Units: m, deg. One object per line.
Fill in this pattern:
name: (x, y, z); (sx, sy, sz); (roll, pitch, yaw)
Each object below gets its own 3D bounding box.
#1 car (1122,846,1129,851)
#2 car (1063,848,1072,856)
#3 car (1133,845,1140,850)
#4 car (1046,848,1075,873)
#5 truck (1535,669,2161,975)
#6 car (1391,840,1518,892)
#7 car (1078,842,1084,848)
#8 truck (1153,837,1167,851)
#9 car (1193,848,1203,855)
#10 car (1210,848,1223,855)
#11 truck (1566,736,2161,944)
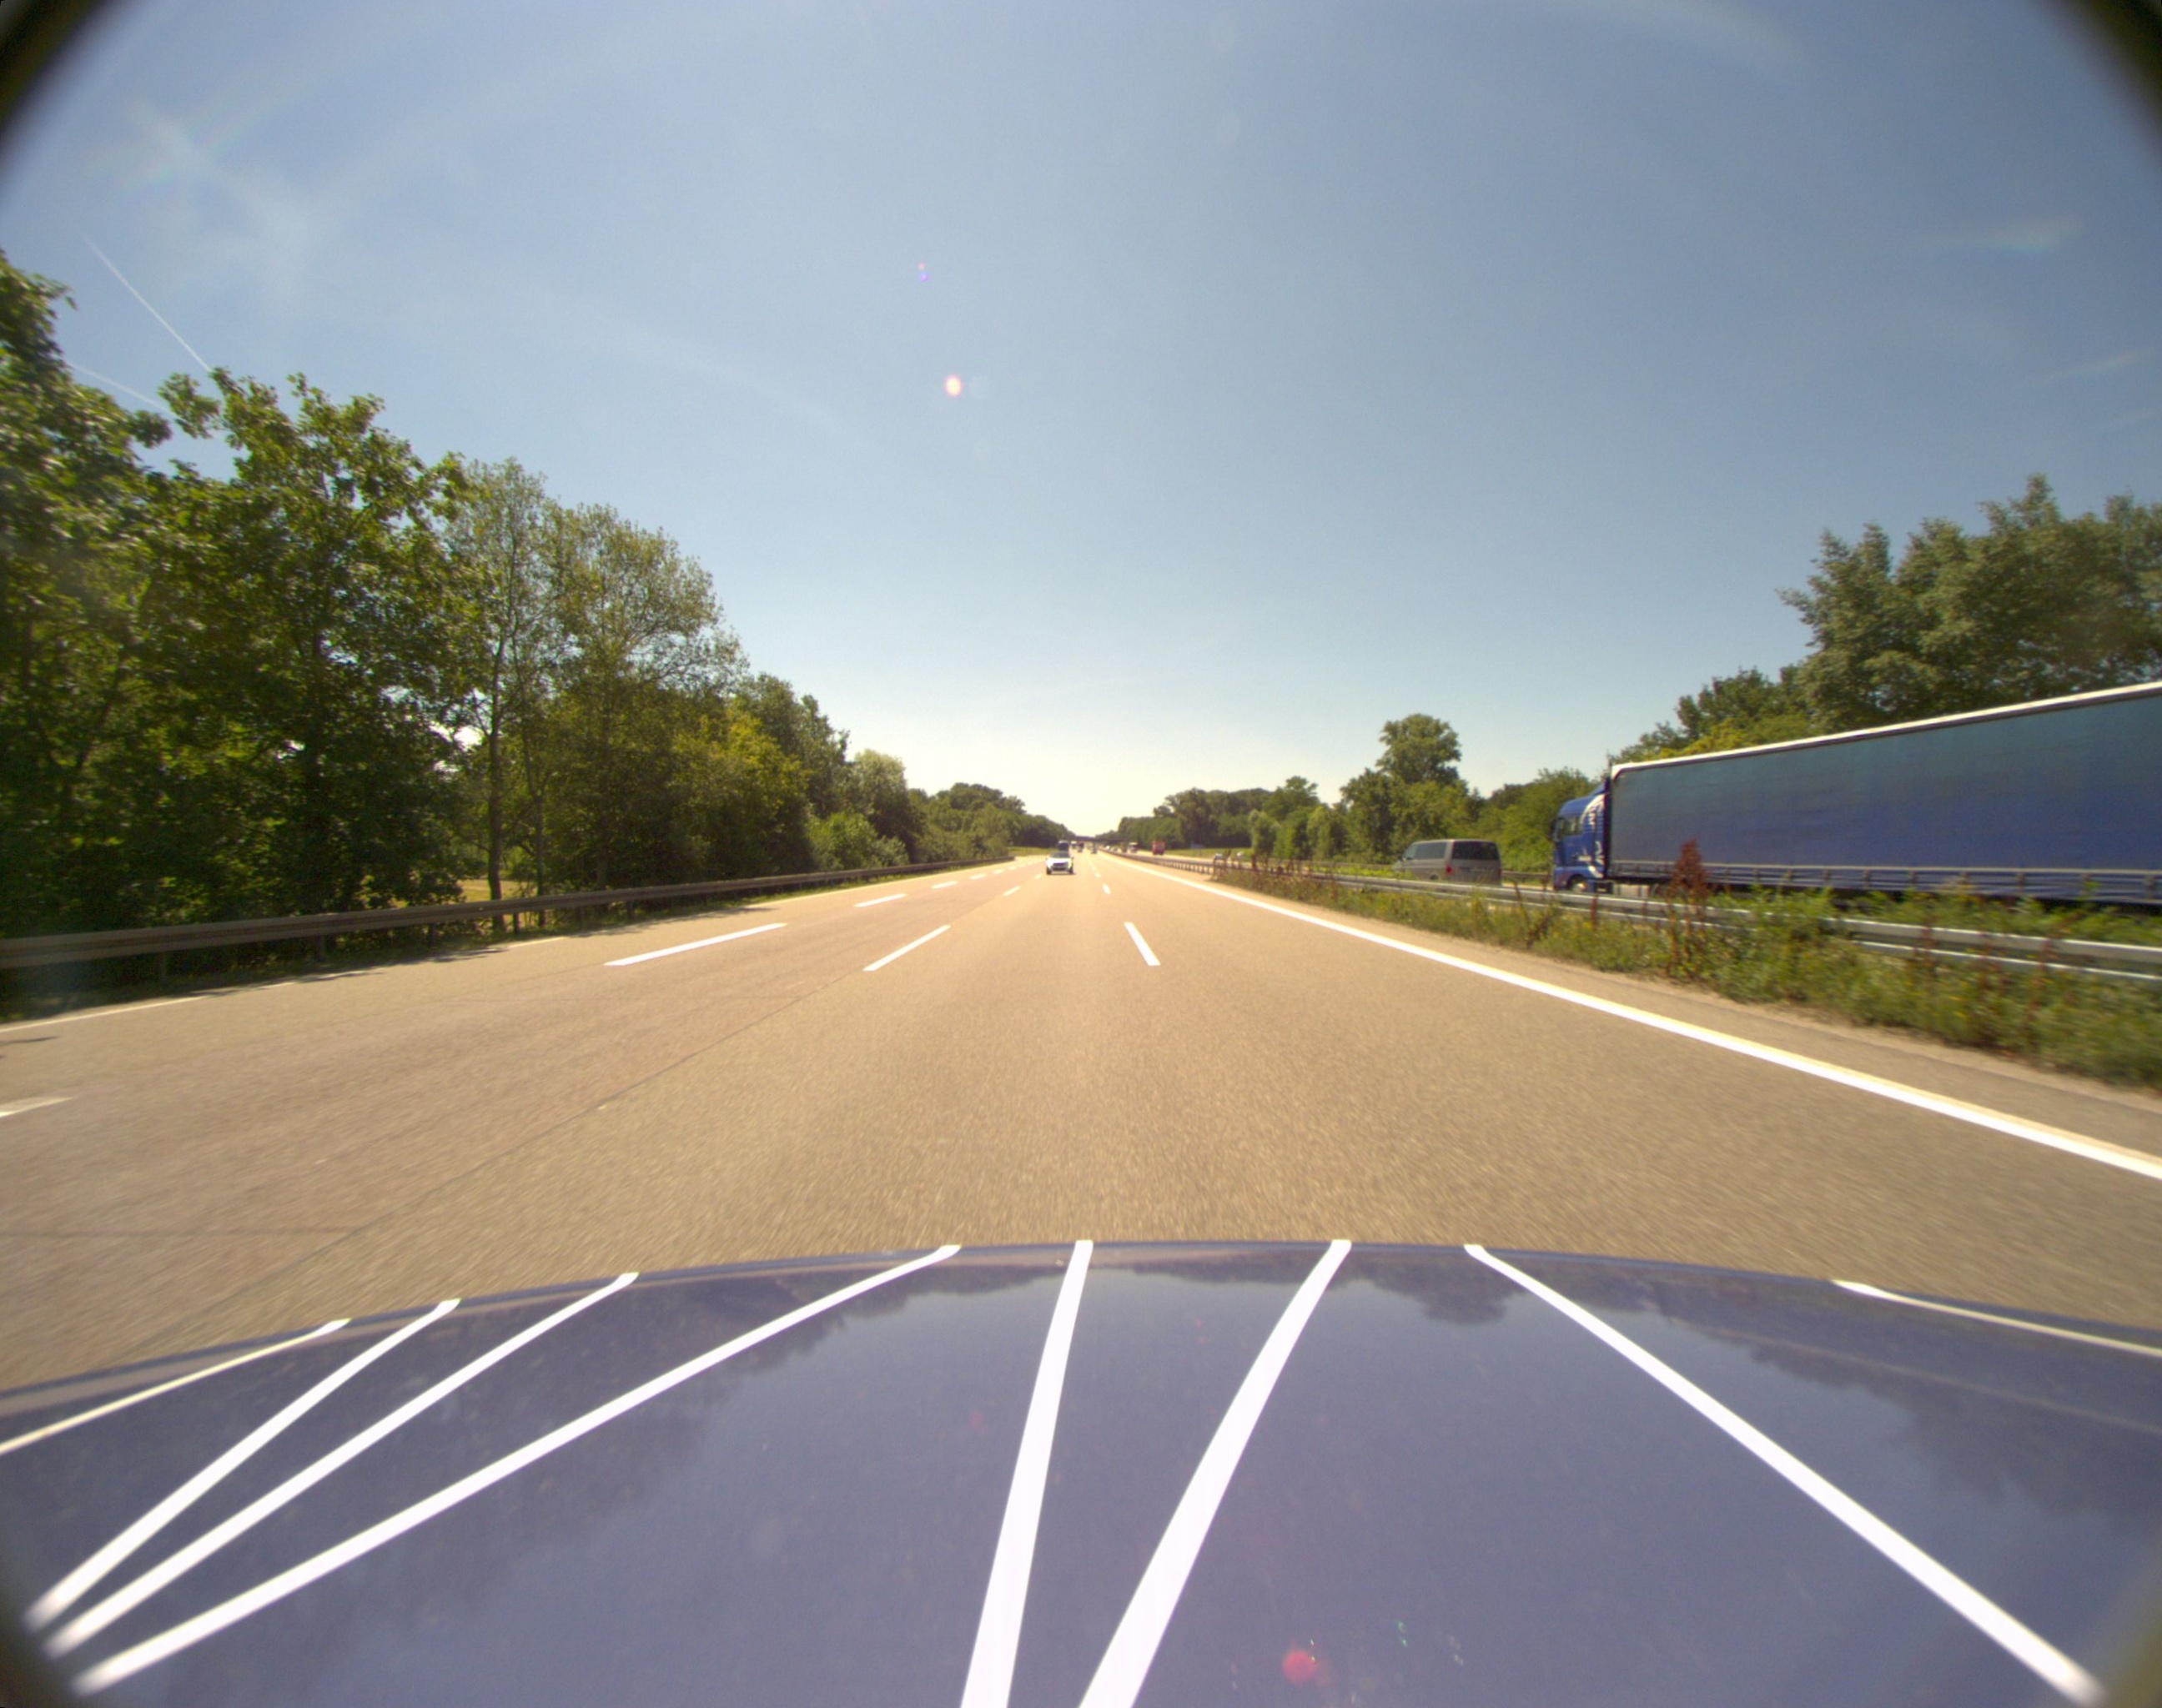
car: (14.154, -1.718, 243.286); (1.901, 1.497, 4.116); (0, 1, 0)
car: (-3.585, -0.609, 198.052); (2.300, 2.002, 4.794); (0, 1, -1)
car: (17.969, -2.236, 248.207); (1.998, 1.617, 4.543); (1, 1, 1)
car: (-1.356, 0.412, 52.130); (1.845, 1.565, 3.999); (-1, 1, 1)
truck: (16.380, -0.483, 16.244); (2.963, 4.221, 17.178); (0, 1, 0)
car: (12.562, 0.357, 25.944); (1.998, 1.580, 4.817); (0, 1, 1)
car: (-0.090, -2.801, 240.425); (1.840, 2.002, 3.999); (0, 1, 1)
truck: (21.238, -2.624, 204.747); (3.072, 3.706, 9.804); (0, 1, 1)
car: (28.383, -0.580, 184.633); (1.998, 1.569, 4.268); (0, 1, 3)
car: (28.332, -0.518, 159.257); (1.998, 1.404, 4.972); (0, 1, 1)
truck: (20.949, -0.328, 22.533); (2.963, 3.995, 15.818); (0, 1, 0)
